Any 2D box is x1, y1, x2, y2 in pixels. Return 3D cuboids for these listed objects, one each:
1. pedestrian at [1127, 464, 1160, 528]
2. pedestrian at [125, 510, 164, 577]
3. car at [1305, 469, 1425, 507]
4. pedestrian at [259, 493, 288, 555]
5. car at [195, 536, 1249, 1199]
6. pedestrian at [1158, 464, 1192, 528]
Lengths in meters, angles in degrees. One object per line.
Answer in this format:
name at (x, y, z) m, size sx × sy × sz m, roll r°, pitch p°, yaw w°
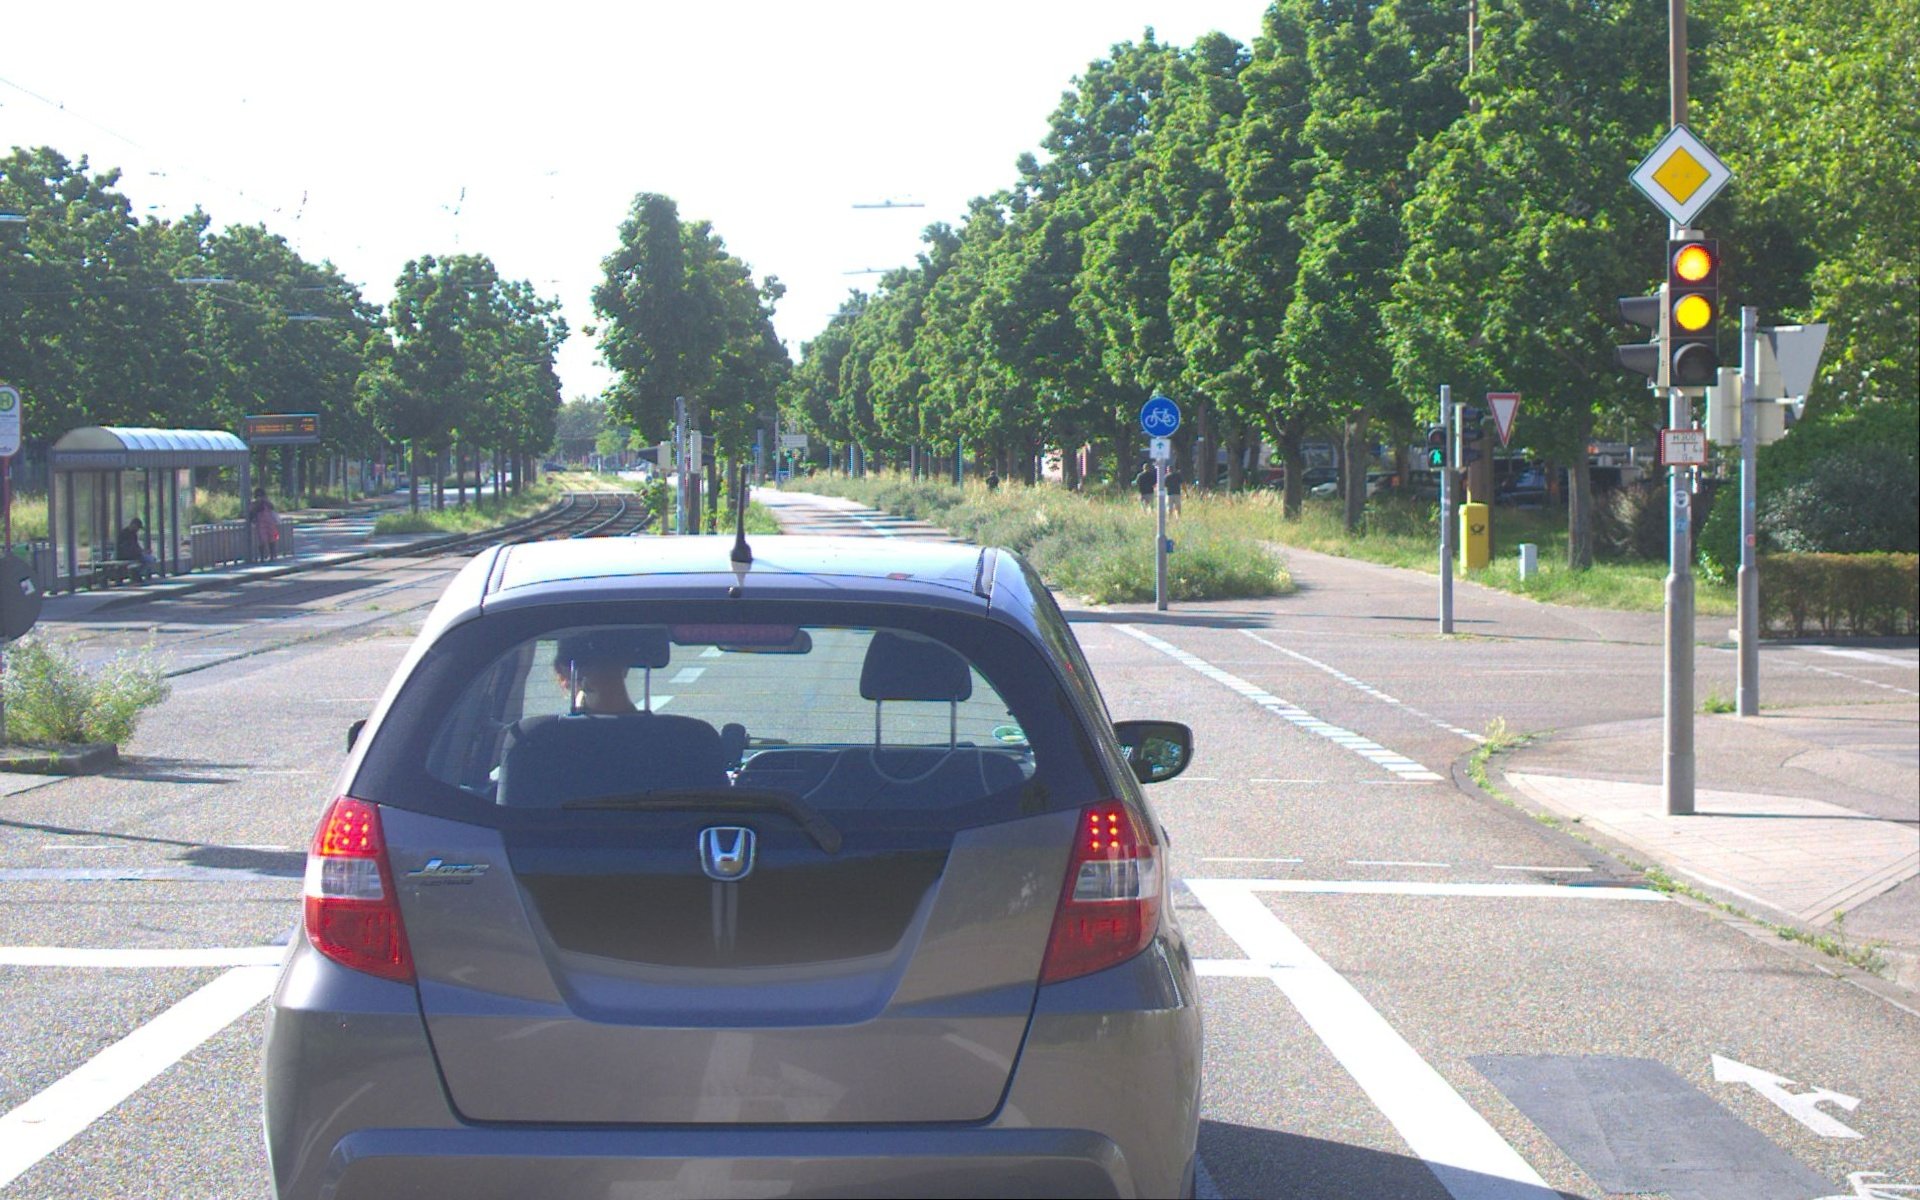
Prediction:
pedestrian at (5.416, -3.080, 101.513) m, size 0.882 × 1.877 × 0.875 m, roll -1°, pitch 2°, yaw -4°
pedestrian at (-15.544, -1.078, 65.526) m, size 0.563 × 1.252 × 0.581 m, roll -3°, pitch 1°, yaw -1°
car at (17.012, -4.702, 144.512) m, size 4.630 × 1.550 × 2.001 m, roll -1°, pitch 2°, yaw -6°
pedestrian at (-15.996, -1.771, 80.079) m, size 0.544 × 1.442 × 0.559 m, roll -1°, pitch 1°, yaw -1°
car at (-0.408, 0.632, 7.428) m, size 1.701 × 1.518 × 3.710 m, roll 0°, pitch 1°, yaw -1°
pedestrian at (6.355, -3.067, 101.534) m, size 0.882 × 1.877 × 0.875 m, roll -1°, pitch 2°, yaw -4°
